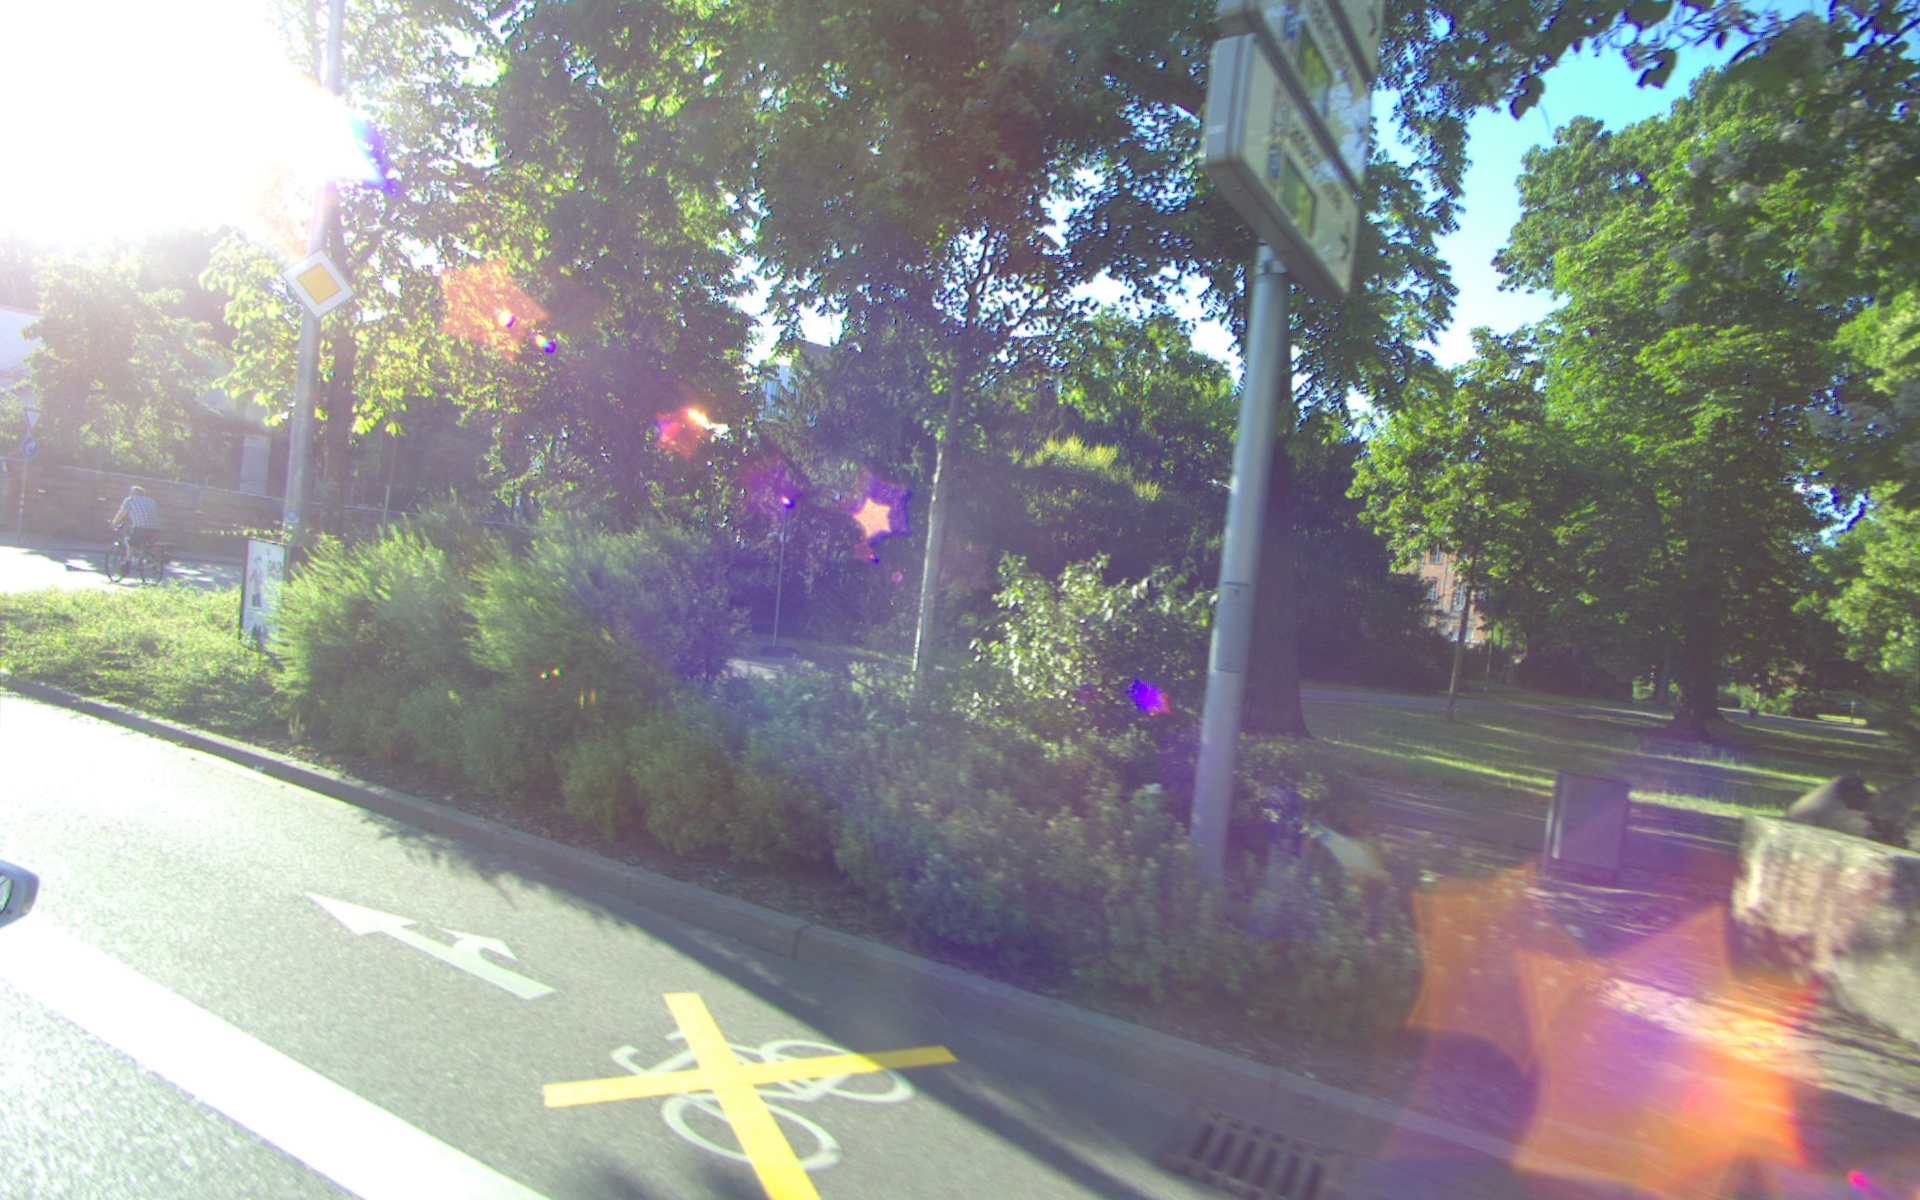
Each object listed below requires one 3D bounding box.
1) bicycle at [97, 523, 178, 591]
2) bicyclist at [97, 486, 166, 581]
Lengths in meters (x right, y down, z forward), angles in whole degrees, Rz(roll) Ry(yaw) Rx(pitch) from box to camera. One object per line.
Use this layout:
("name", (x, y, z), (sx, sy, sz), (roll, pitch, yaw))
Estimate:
("bicycle", (-15.277, -0.804, 18.672), (1.878, 1.075, 0.428), (7, 1, 28))
("bicyclist", (-15.297, -1.223, 18.570), (0.887, 1.635, 0.585), (7, 1, 27))
